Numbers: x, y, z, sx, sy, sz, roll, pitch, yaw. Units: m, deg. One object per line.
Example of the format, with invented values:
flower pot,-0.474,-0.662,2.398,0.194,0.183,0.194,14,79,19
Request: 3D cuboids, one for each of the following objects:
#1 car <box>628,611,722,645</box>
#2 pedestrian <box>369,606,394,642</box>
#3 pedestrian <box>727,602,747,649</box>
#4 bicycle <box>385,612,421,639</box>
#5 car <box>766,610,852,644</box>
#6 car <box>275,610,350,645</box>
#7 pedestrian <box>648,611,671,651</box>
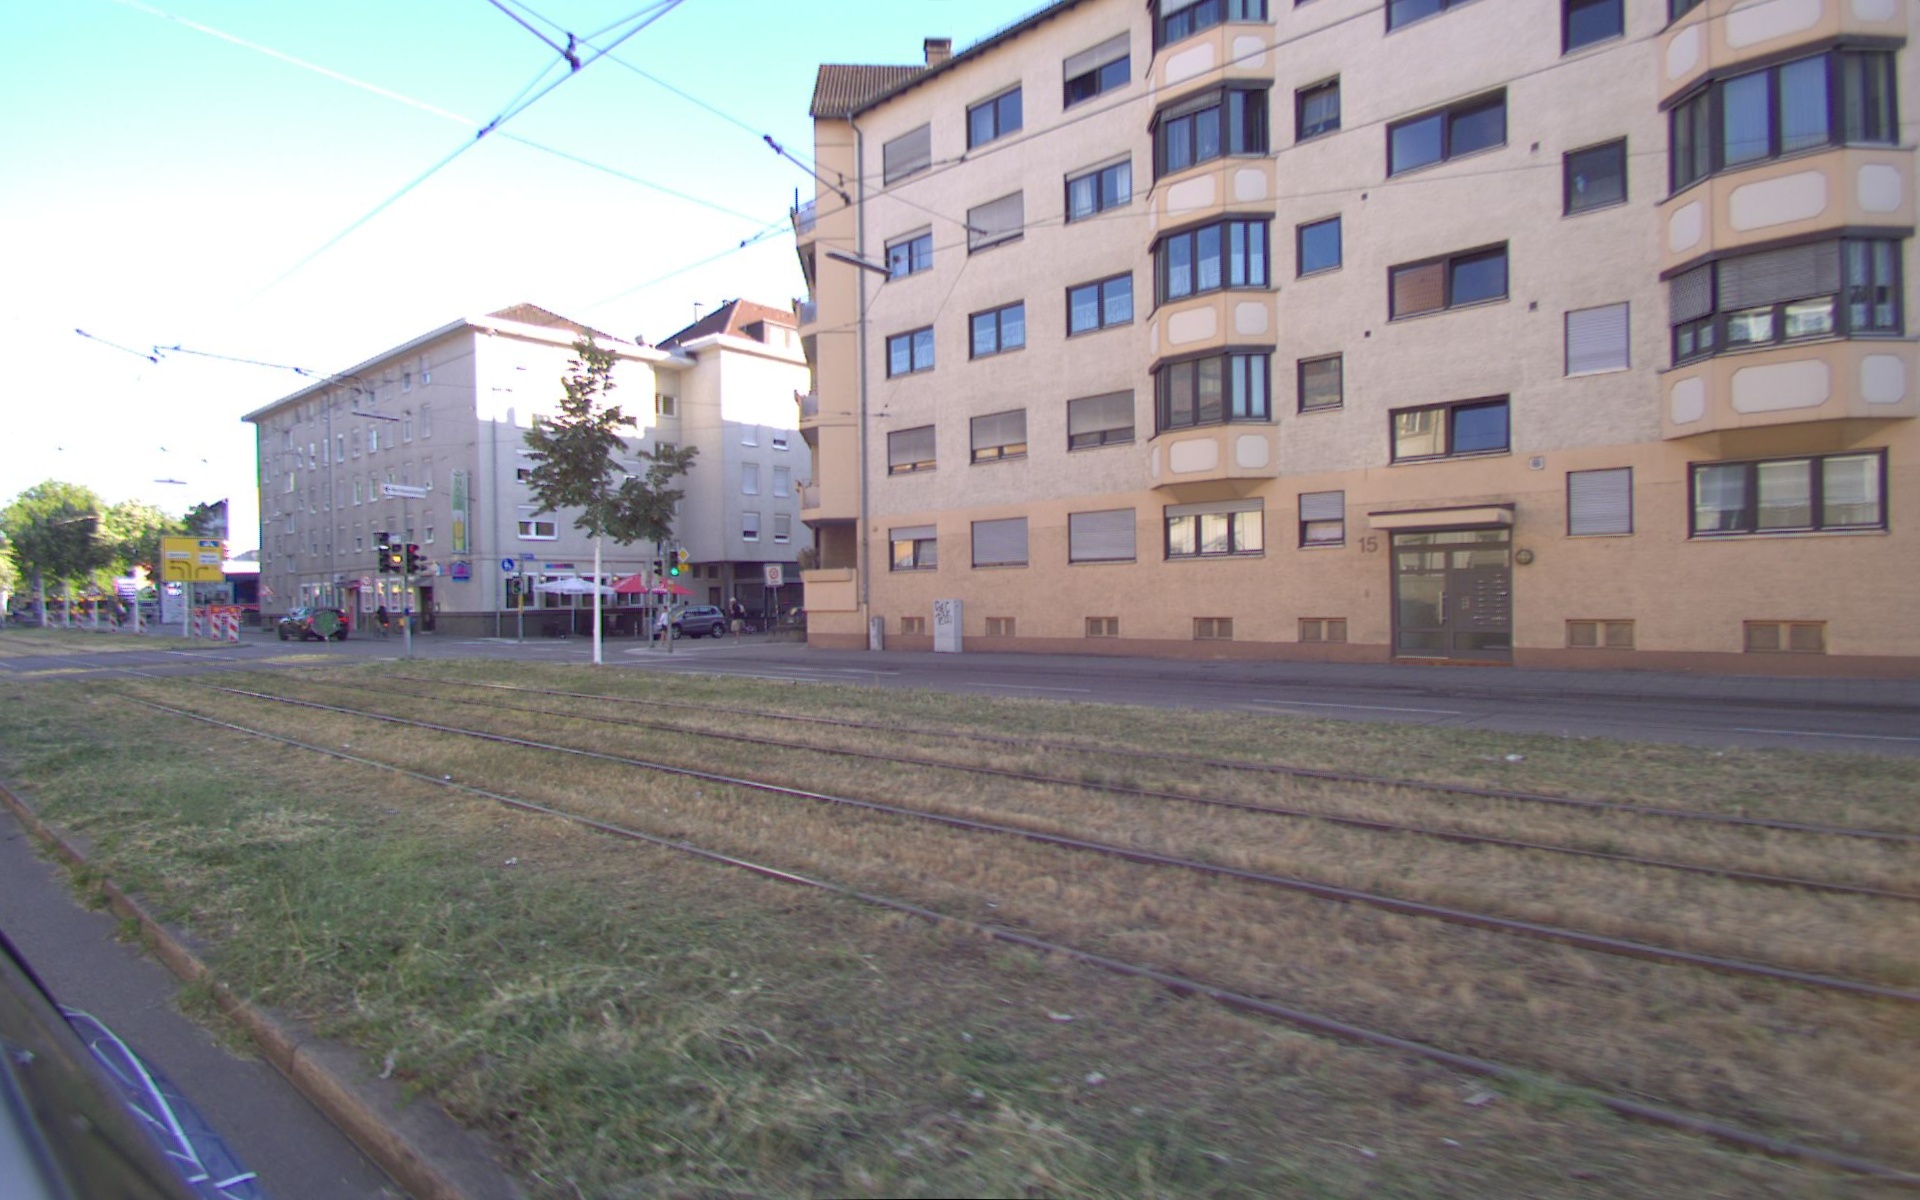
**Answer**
car,-13.588,1.306,48.389,1.997,1.519,3.950,-1,0,37
pedestrian,-28.534,1.171,49.922,1.225,1.754,0.733,-1,0,41
pedestrian,-8.636,0.991,39.171,0.625,1.784,0.827,-1,0,-19
bicycle,-29.575,1.341,53.695,3.235,1.388,0.572,-1,0,41
car,-7.024,1.231,47.390,1.812,1.519,3.952,-1,-1,35
car,-31.139,1.321,48.612,4.467,1.603,1.897,-2,-1,41
pedestrian,-11.547,1.198,38.889,0.582,1.501,0.616,0,0,41
